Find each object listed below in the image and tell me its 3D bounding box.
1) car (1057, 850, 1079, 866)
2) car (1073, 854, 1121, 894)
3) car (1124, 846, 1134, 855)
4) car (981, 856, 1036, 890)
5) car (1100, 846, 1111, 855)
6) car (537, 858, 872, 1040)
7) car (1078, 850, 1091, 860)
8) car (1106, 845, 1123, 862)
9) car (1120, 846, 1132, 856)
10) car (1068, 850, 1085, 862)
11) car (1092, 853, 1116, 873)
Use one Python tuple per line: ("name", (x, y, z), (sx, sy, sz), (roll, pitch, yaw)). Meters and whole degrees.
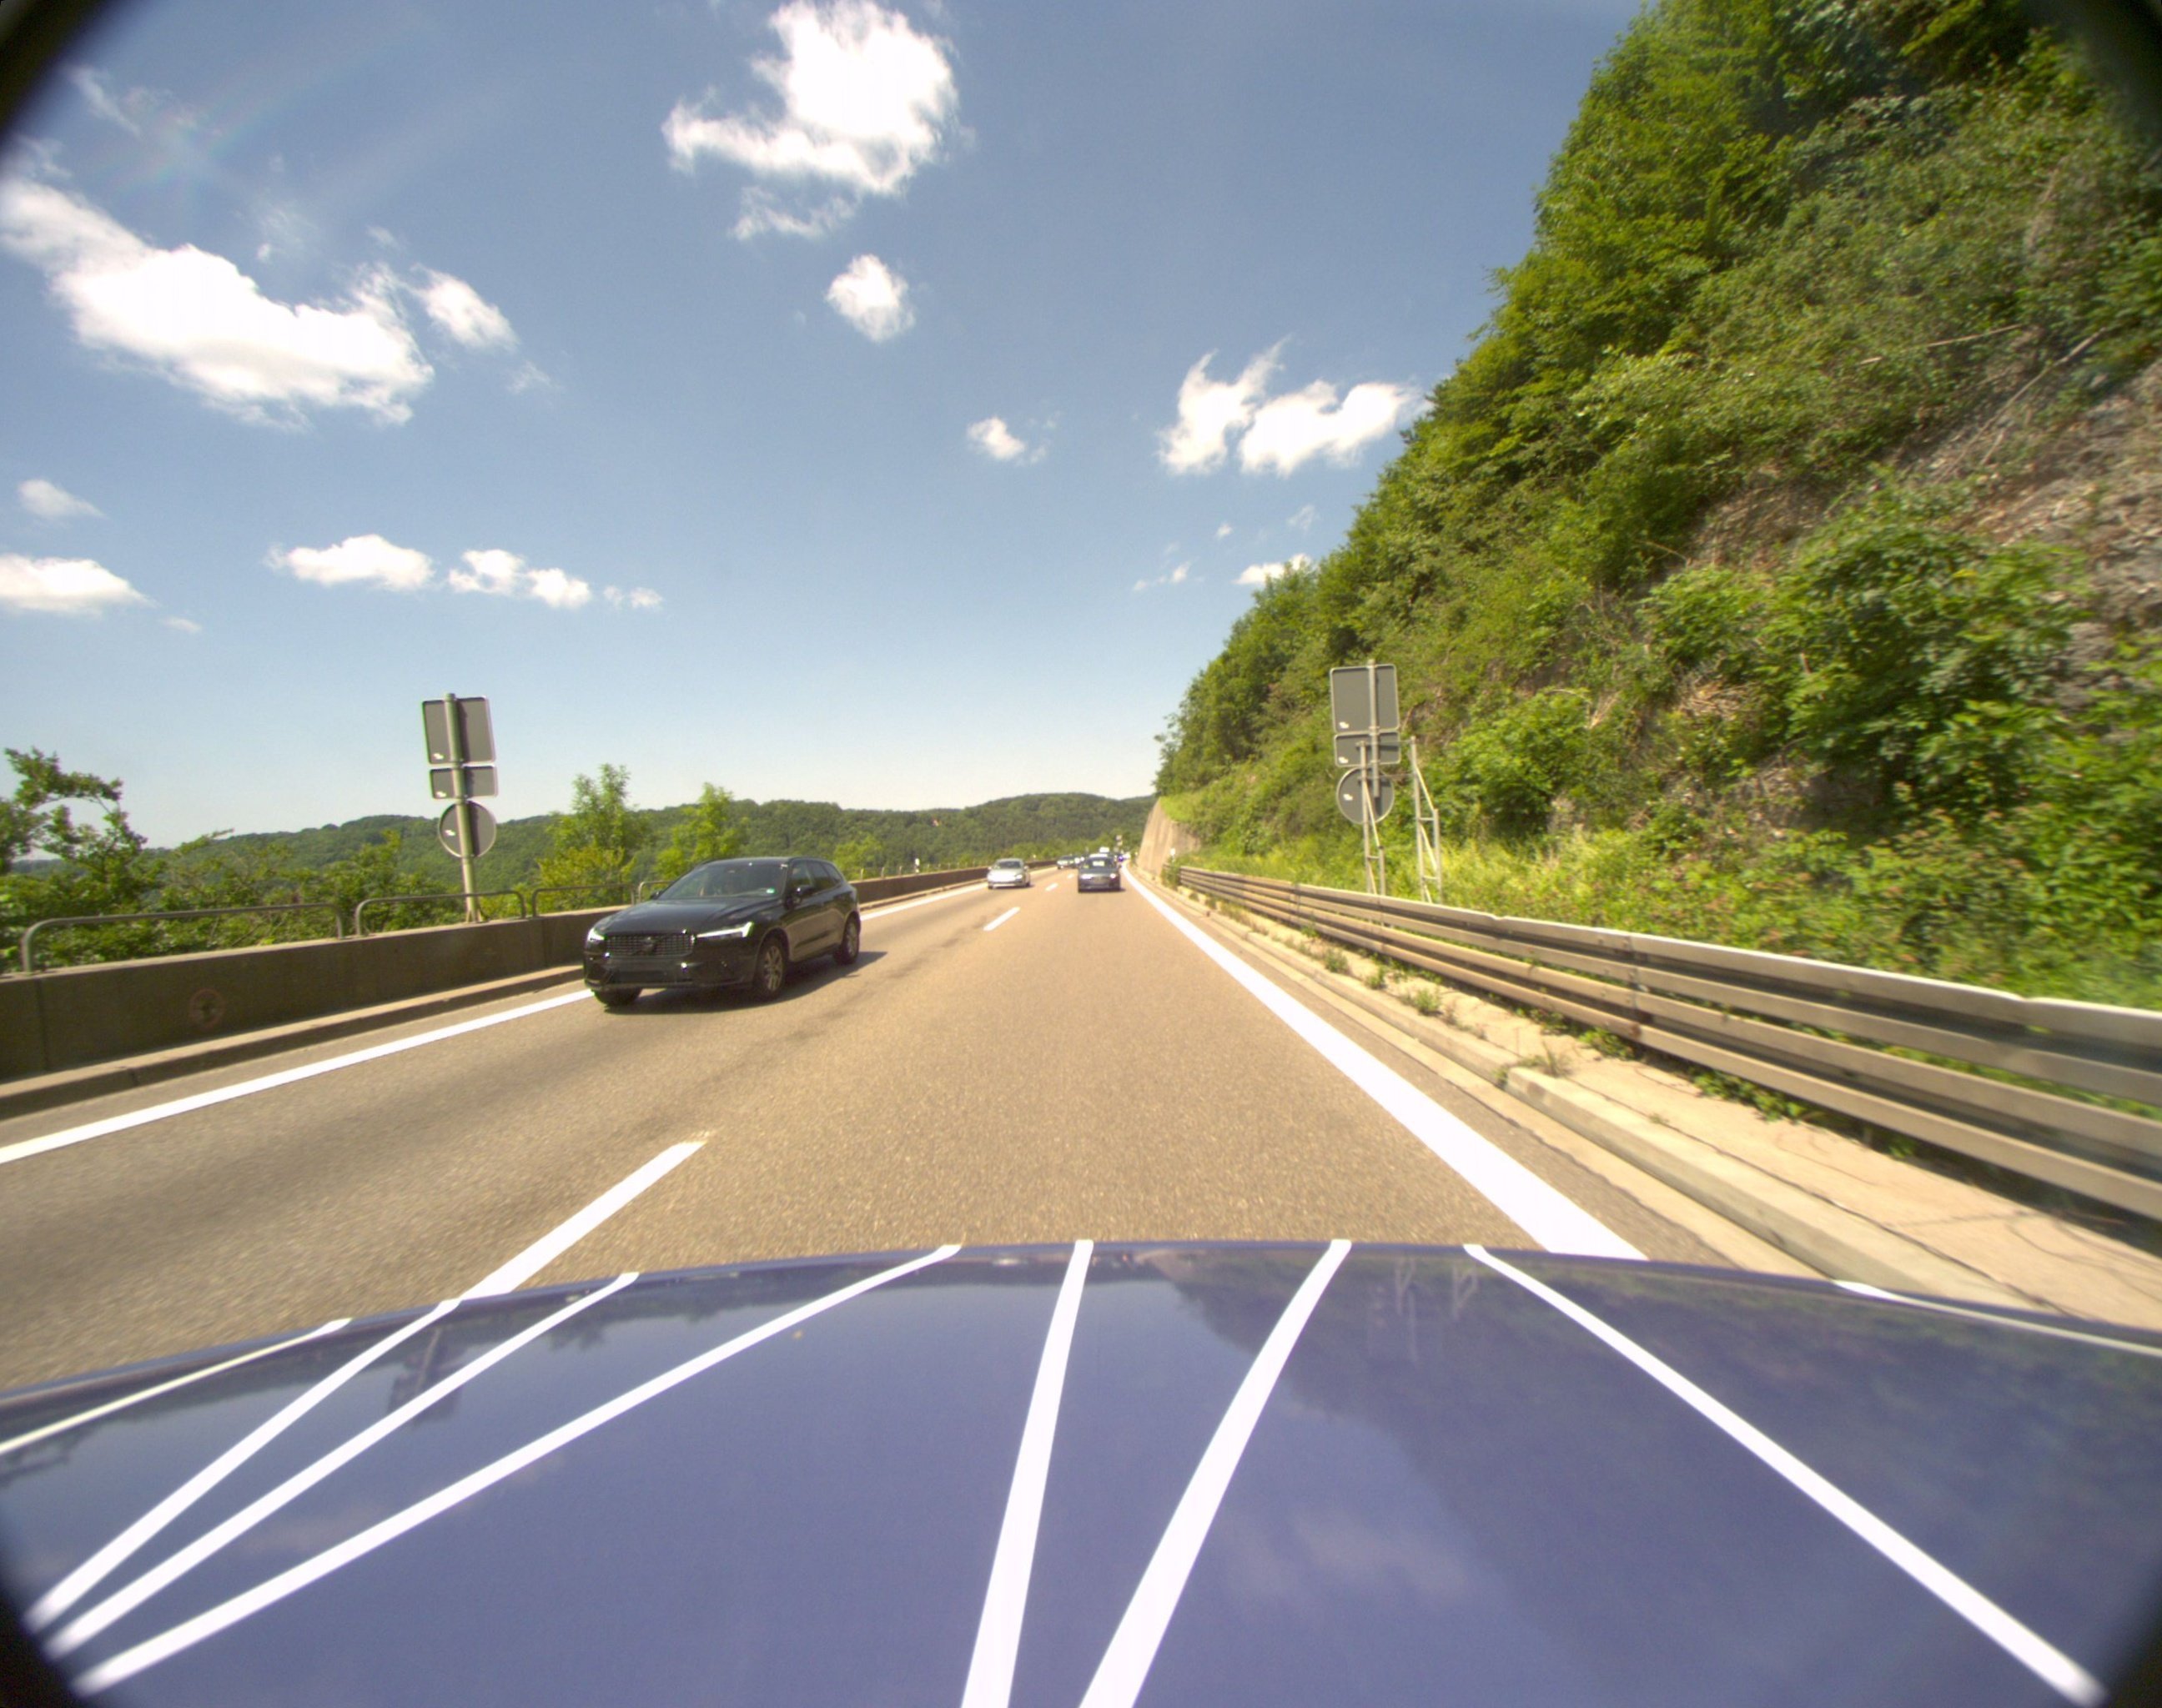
("car", (-1.398, 0.389, 81.984), (1.875, 1.565, 4.001), (-2, 0, 5))
("car", (0.708, 0.761, 30.935), (1.668, 1.415, 4.044), (-2, 1, 4))
("car", (11.288, -0.725, 177.397), (1.997, 2.002, 4.002), (-2, 0, 7))
("car", (-3.509, 0.902, 37.485), (1.972, 1.370, 4.294), (-3, 1, 4))
("car", (5.500, -0.766, 167.236), (1.997, 2.002, 4.002), (-2, 0, 7))
("car", (-4.325, 0.949, 9.775), (1.839, 1.624, 4.662), (-2, 1, 1))
("car", (0.559, 0.113, 119.366), (1.775, 1.565, 4.001), (-2, 0, 5))
("car", (4.202, -0.083, 95.375), (1.998, 2.002, 4.000), (-2, 0, 3))
("car", (9.354, -0.644, 158.235), (1.997, 2.002, 4.002), (-2, 0, 9))
("car", (-0.591, 0.252, 101.585), (1.775, 1.565, 4.001), (-2, 0, 5))
("car", (1.826, 0.645, 58.676), (1.703, 1.432, 4.044), (0, 1, 4))
